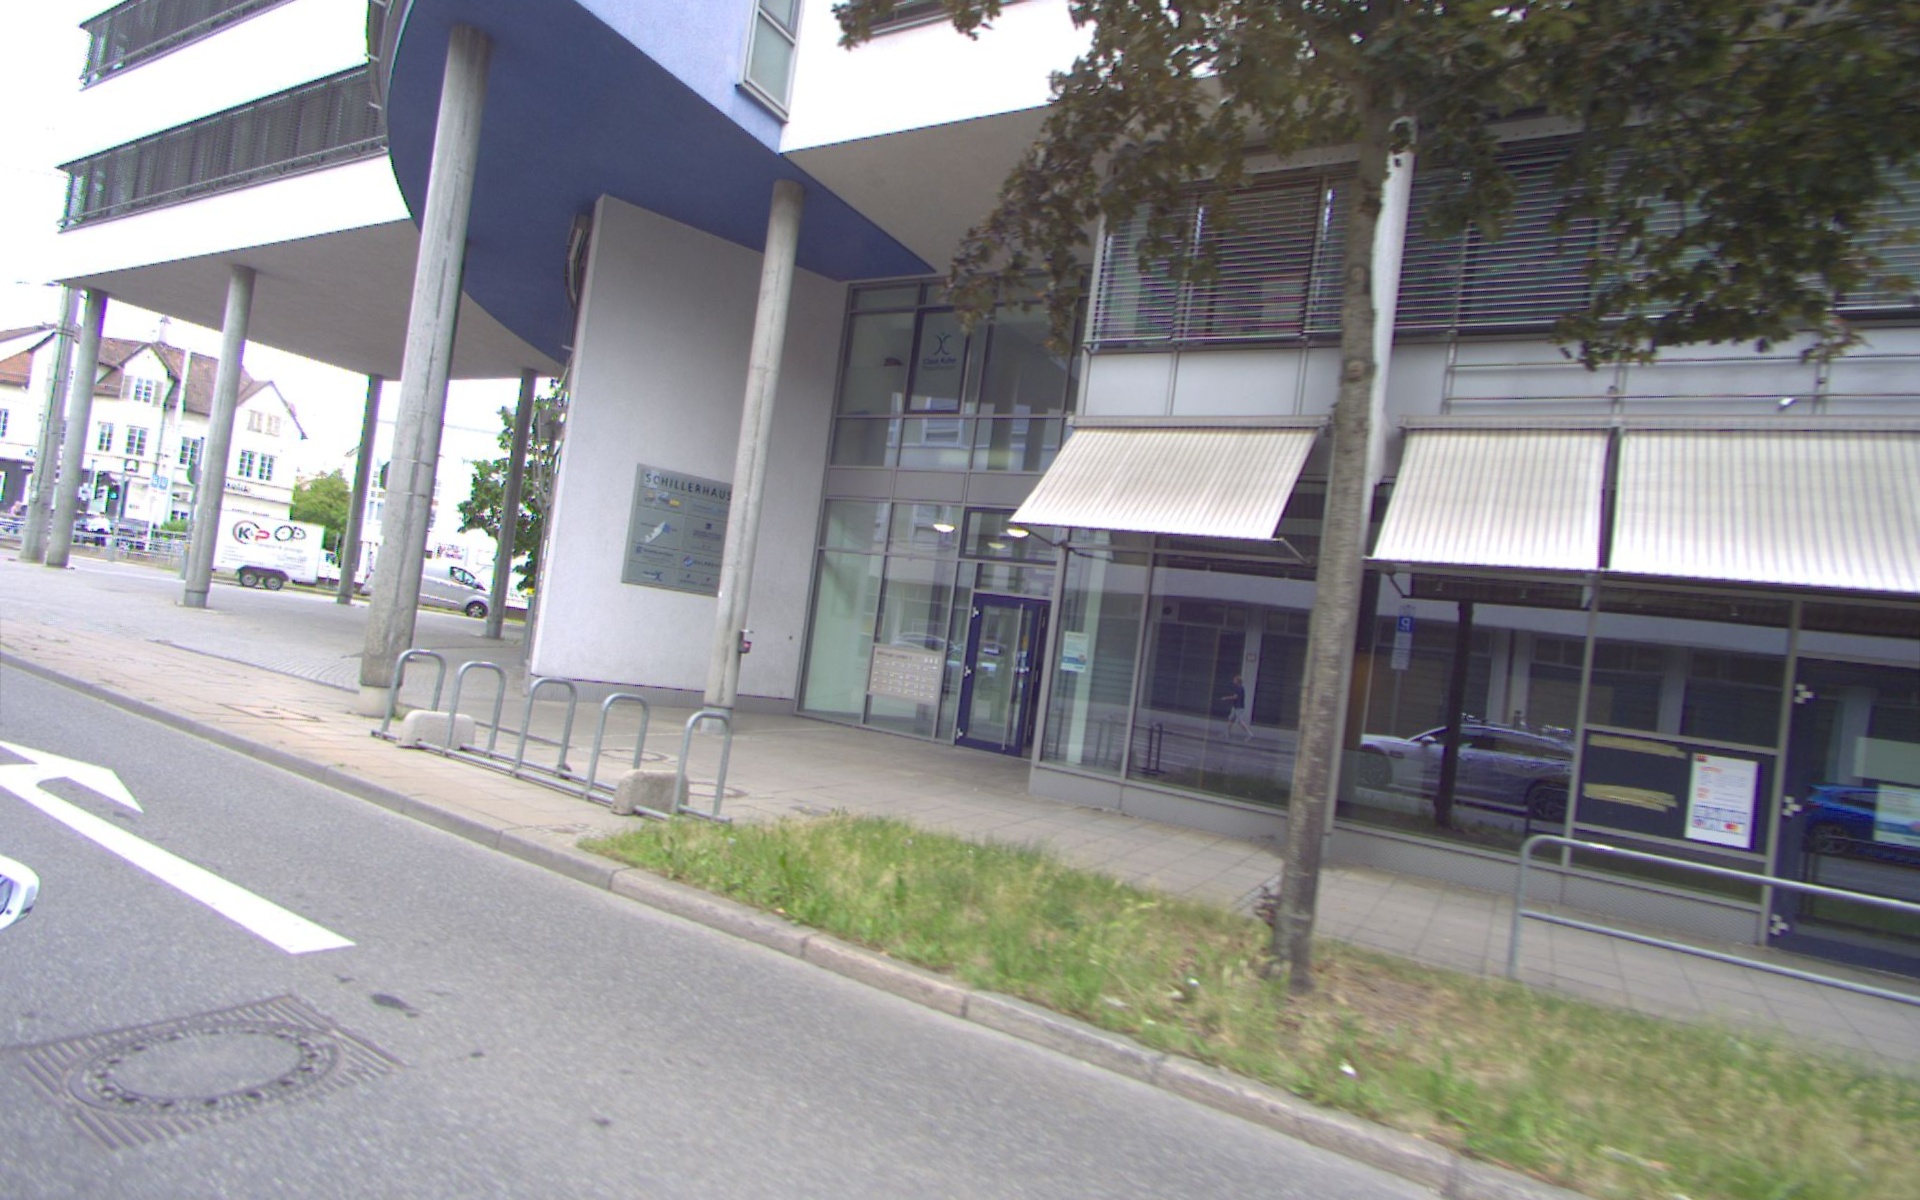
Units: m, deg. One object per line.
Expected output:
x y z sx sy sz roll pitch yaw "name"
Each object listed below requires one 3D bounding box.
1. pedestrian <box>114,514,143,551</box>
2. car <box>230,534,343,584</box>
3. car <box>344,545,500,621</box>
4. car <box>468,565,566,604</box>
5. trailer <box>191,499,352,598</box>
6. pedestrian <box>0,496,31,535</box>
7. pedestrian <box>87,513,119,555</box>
-42.192 -3.413 51.044 0.781 1.737 0.645 10 -2 -28 "pedestrian"
-38.310 -2.306 57.340 4.703 1.939 1.990 9 -3 -8 "car"
-20.175 -0.591 37.883 4.856 1.966 1.871 11 -4 -29 "car"
-25.795 -0.882 58.702 4.703 1.486 1.990 9 -3 -8 "car"
-24.197 -1.755 35.471 4.290 2.641 1.866 11 -4 -36 "trailer"
-45.850 -4.094 48.794 0.775 1.737 0.650 8 -2 23 "pedestrian"
-38.836 -2.986 45.582 0.638 1.738 0.704 8 -1 -6 "pedestrian"
